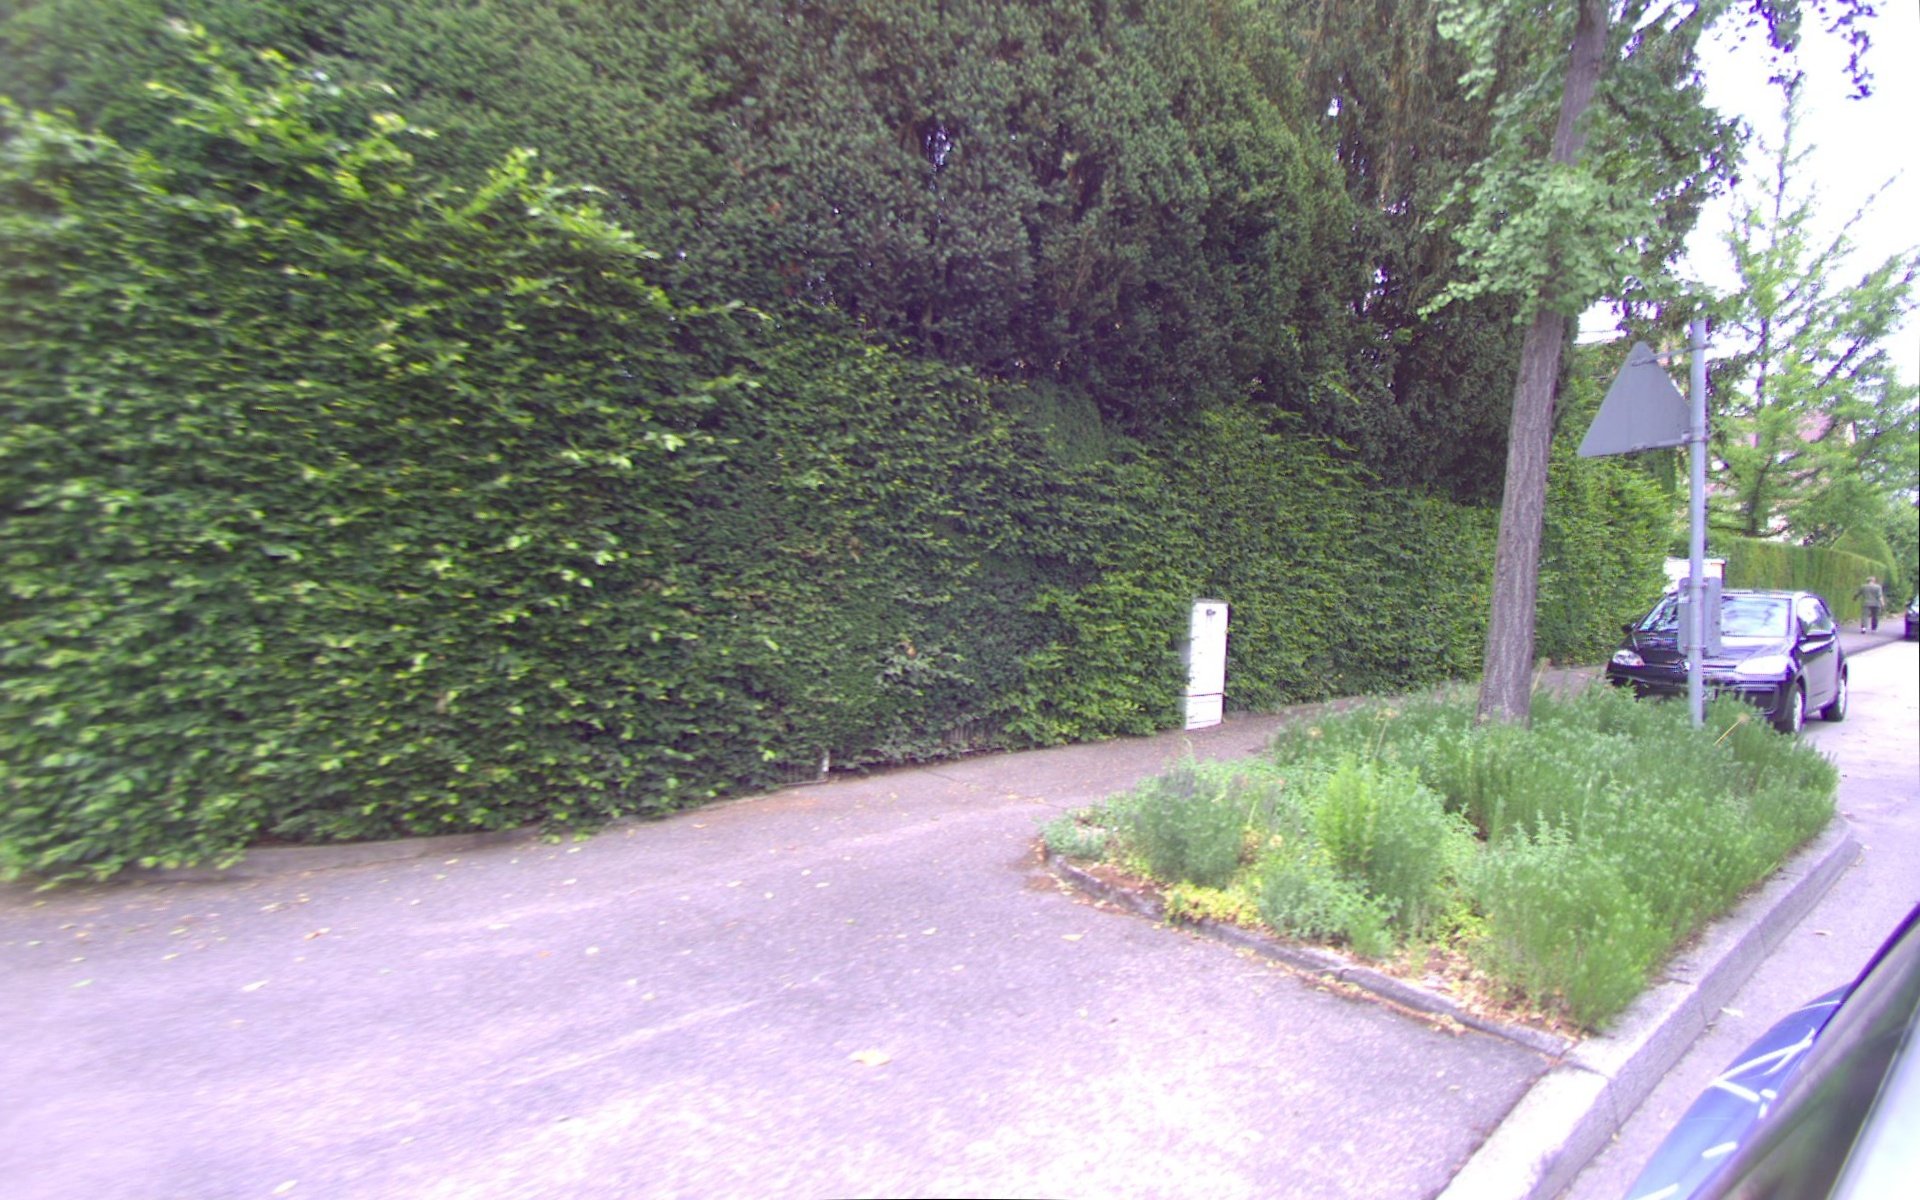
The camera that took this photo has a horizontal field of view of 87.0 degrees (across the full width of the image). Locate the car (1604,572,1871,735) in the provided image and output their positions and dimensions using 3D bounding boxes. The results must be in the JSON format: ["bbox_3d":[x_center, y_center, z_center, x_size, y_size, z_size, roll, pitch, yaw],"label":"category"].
[{"bbox_3d":[8.589,0.456,11.082,3.675,1.491,1.626,0,1,-41],"label":"car"}]

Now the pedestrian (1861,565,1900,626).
[{"bbox_3d":[26.914,-0.146,29.592,0.901,1.719,0.671,0,3,-40],"label":"pedestrian"}]
